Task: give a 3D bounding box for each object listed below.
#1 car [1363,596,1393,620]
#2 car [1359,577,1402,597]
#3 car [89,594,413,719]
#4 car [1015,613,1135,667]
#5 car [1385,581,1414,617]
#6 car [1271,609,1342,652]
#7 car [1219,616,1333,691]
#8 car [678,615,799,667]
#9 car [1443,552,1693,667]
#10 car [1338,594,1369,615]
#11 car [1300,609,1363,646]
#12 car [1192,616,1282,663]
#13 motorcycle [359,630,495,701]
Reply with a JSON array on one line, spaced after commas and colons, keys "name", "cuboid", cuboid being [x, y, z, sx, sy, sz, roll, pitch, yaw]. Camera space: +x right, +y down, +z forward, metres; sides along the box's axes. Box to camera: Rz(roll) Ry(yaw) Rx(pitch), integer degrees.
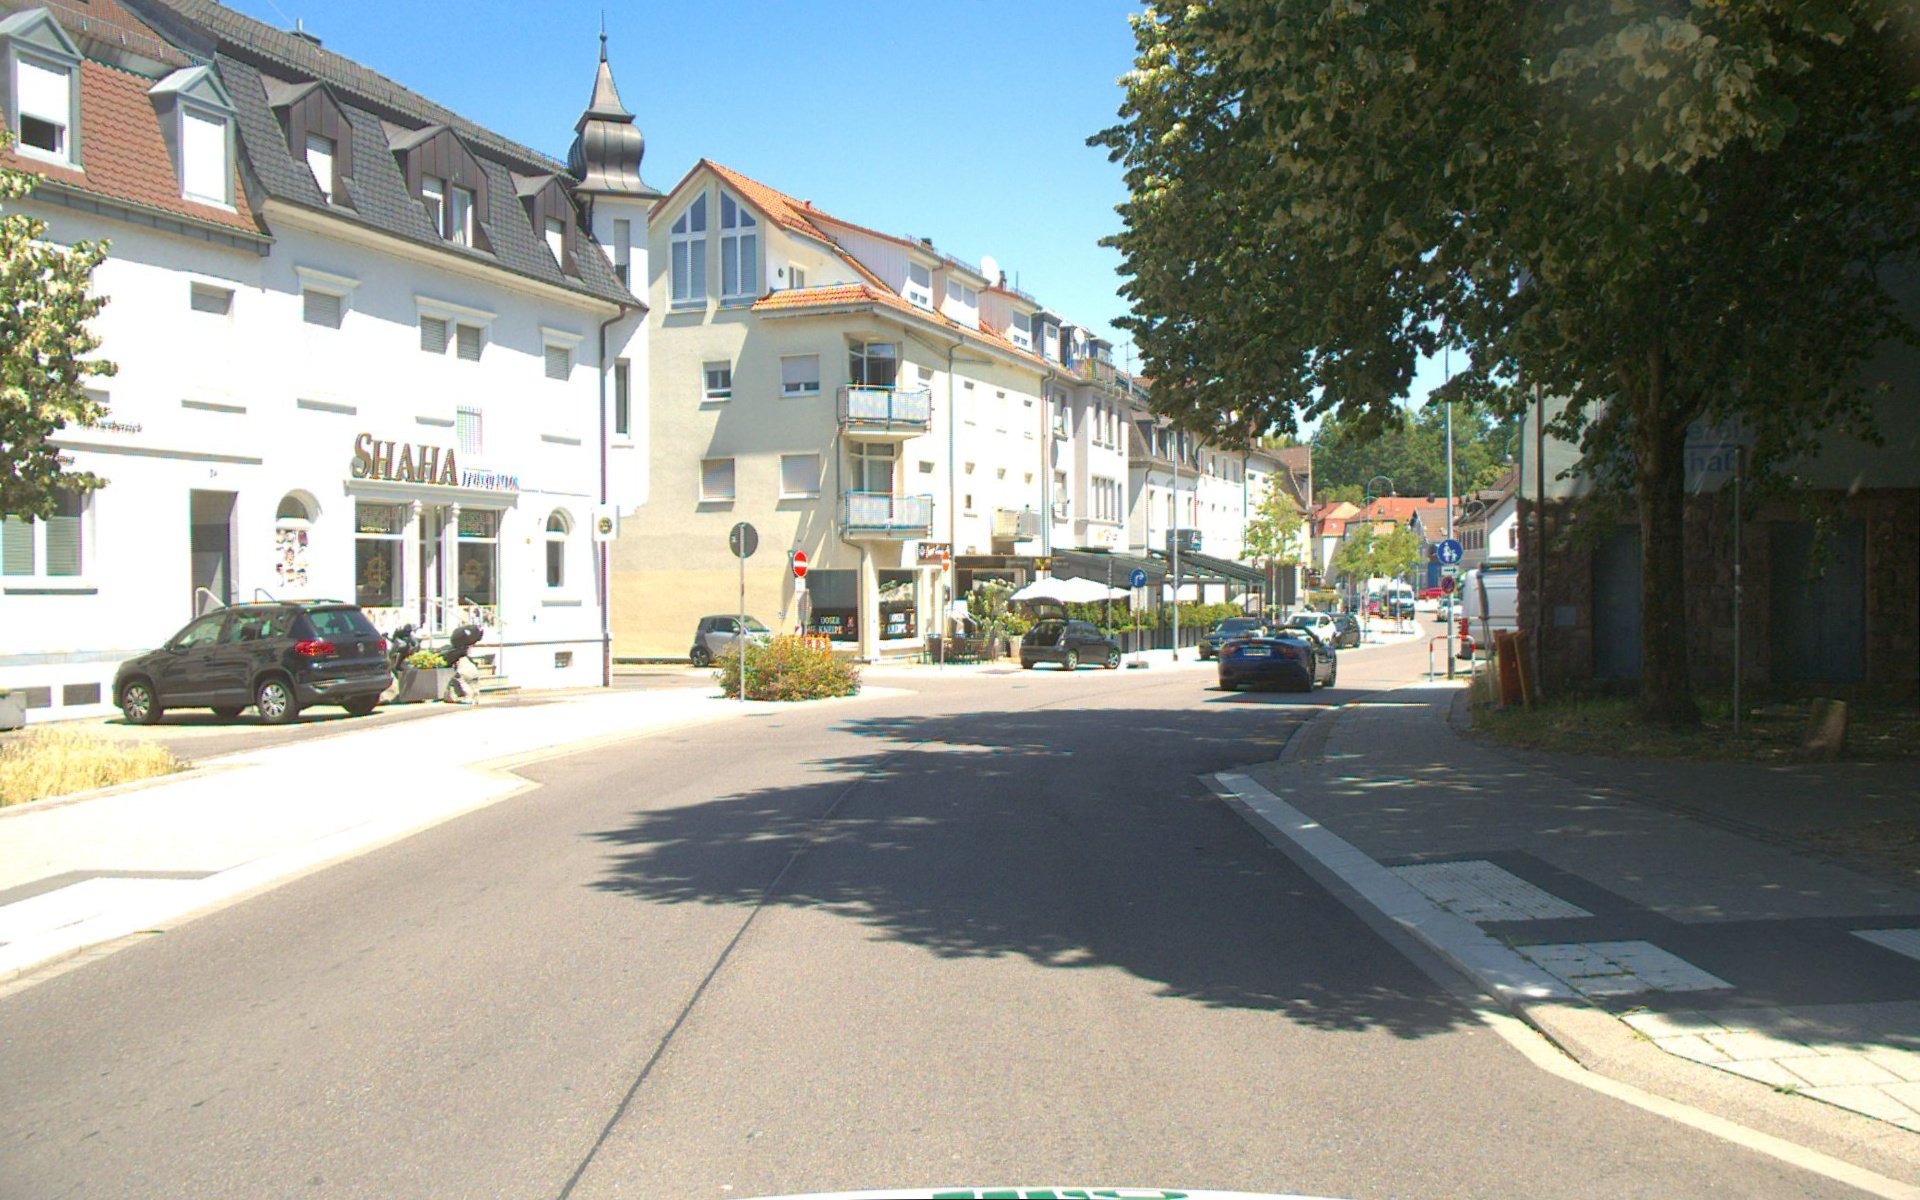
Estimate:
[{"name": "car", "cuboid": [32.139, 0.618, 127.310, 1.951, 1.769, 4.003, -1, -1, 11]}, {"name": "car", "cuboid": [45.869, -1.382, 180.271, 4.195, 2.049, 1.988, 1, -2, -20]}, {"name": "car", "cuboid": [-10.293, 0.792, 24.070, 4.093, 1.691, 1.971, -1, 0, 20]}, {"name": "car", "cuboid": [3.452, 1.165, 48.917, 1.683, 1.486, 4.116, 2, 0, 34]}, {"name": "car", "cuboid": [31.344, -0.070, 118.076, 1.827, 2.443, 4.822, -1, 0, 13]}, {"name": "car", "cuboid": [13.578, 1.159, 64.624, 1.614, 1.505, 3.934, 1, 1, 29]}, {"name": "car", "cuboid": [6.696, 1.066, 34.696, 1.831, 1.365, 4.598, 1, 0, 17]}, {"name": "car", "cuboid": [-6.685, 1.233, 49.982, 3.194, 1.484, 1.692, -1, 0, 20]}, {"name": "car", "cuboid": [15.479, 0.253, 42.153, 5.821, 2.780, 2.195, -1, -1, 24]}, {"name": "car", "cuboid": [33.211, 0.337, 139.690, 1.951, 1.722, 4.002, 0, 0, 5]}, {"name": "car", "cuboid": [15.549, 1.129, 69.160, 1.637, 1.469, 4.005, -1, 0, 27]}, {"name": "car", "cuboid": [9.741, 1.349, 57.939, 1.798, 1.454, 4.778, 1, 1, 26]}, {"name": "motorcycle", "cuboid": [-9.637, 1.167, 29.911, 2.346, 1.239, 0.833, -1, -1, 22]}]
